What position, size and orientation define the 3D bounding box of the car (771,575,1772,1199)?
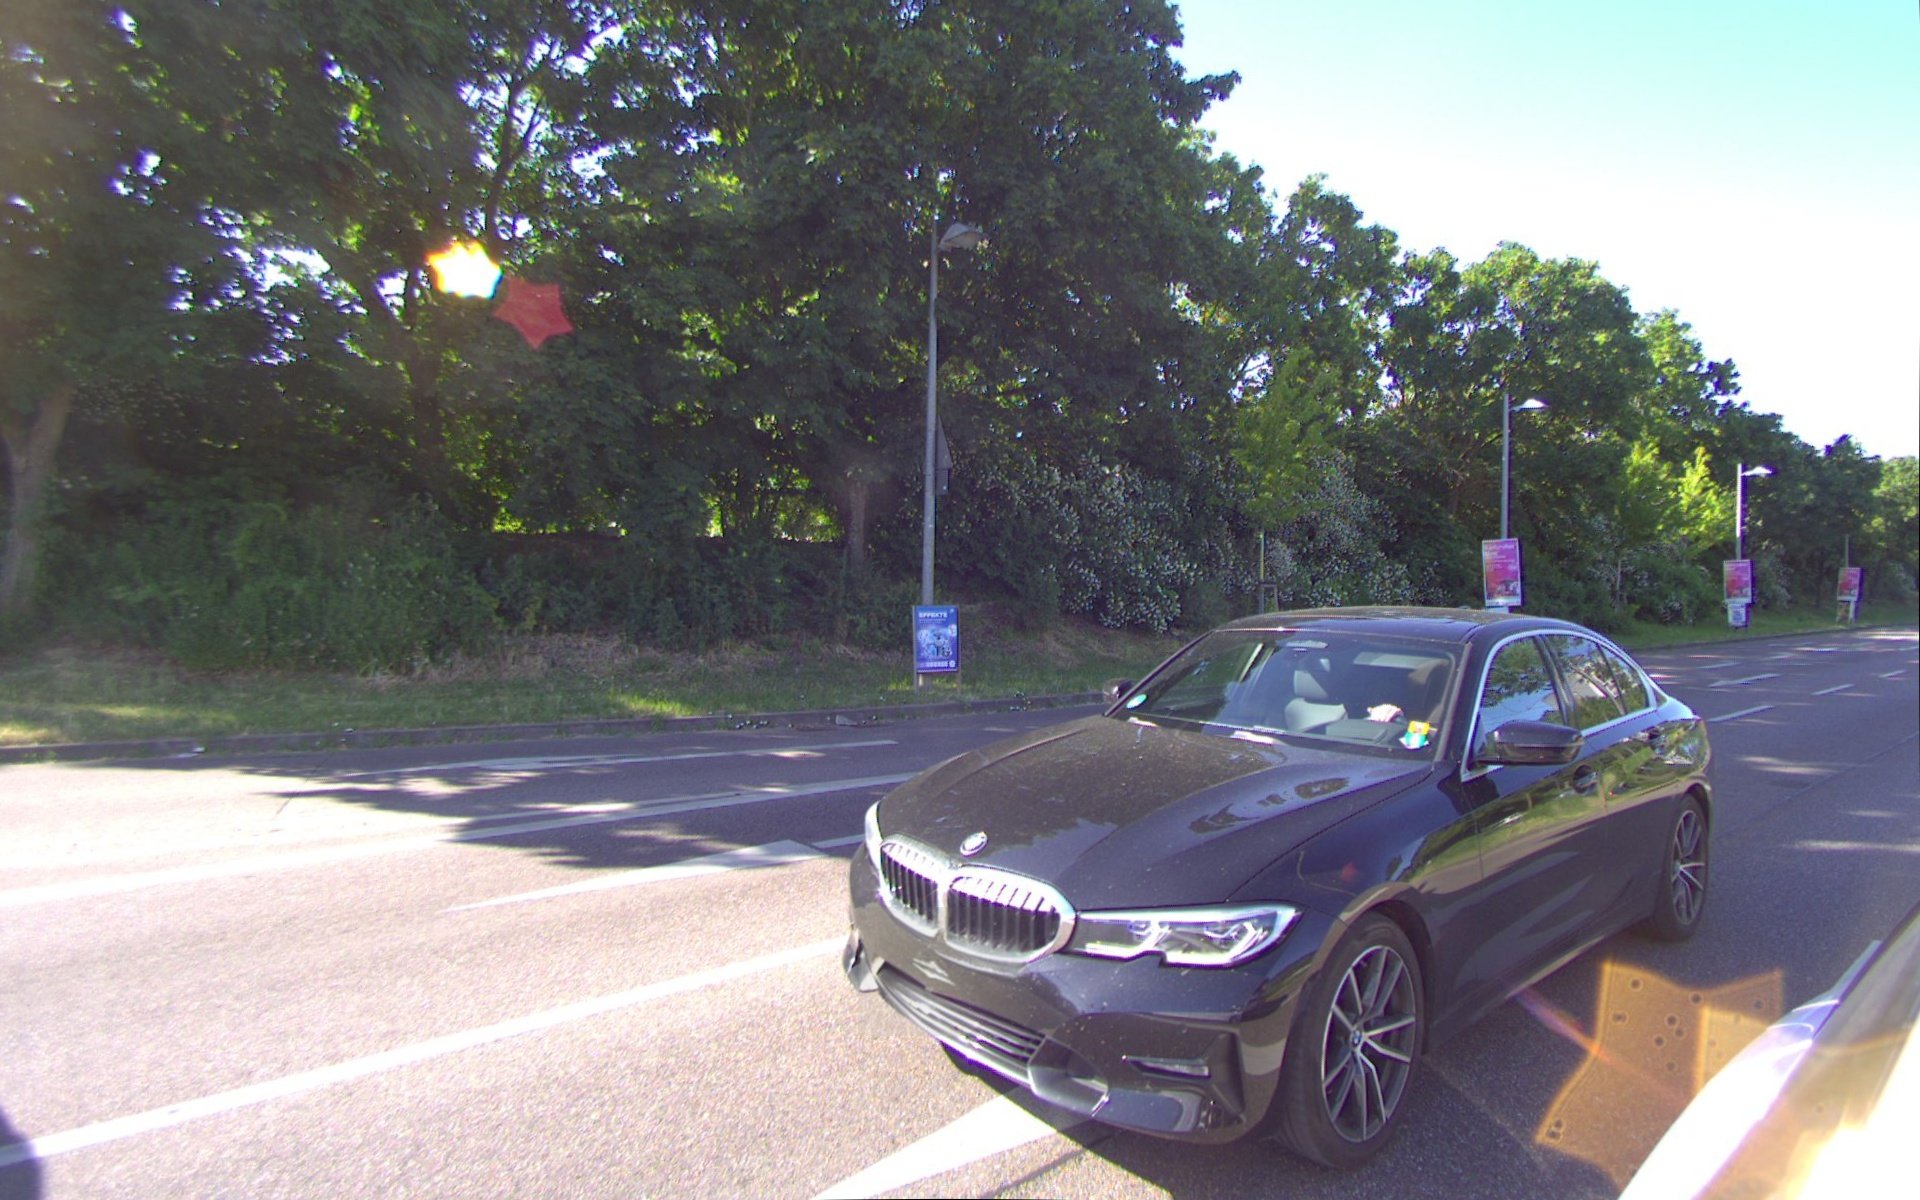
[{"bbox_3d":[1.615,0.641,4.187,4.364,1.415,1.874,0,1,-40],"label":"car"}]
